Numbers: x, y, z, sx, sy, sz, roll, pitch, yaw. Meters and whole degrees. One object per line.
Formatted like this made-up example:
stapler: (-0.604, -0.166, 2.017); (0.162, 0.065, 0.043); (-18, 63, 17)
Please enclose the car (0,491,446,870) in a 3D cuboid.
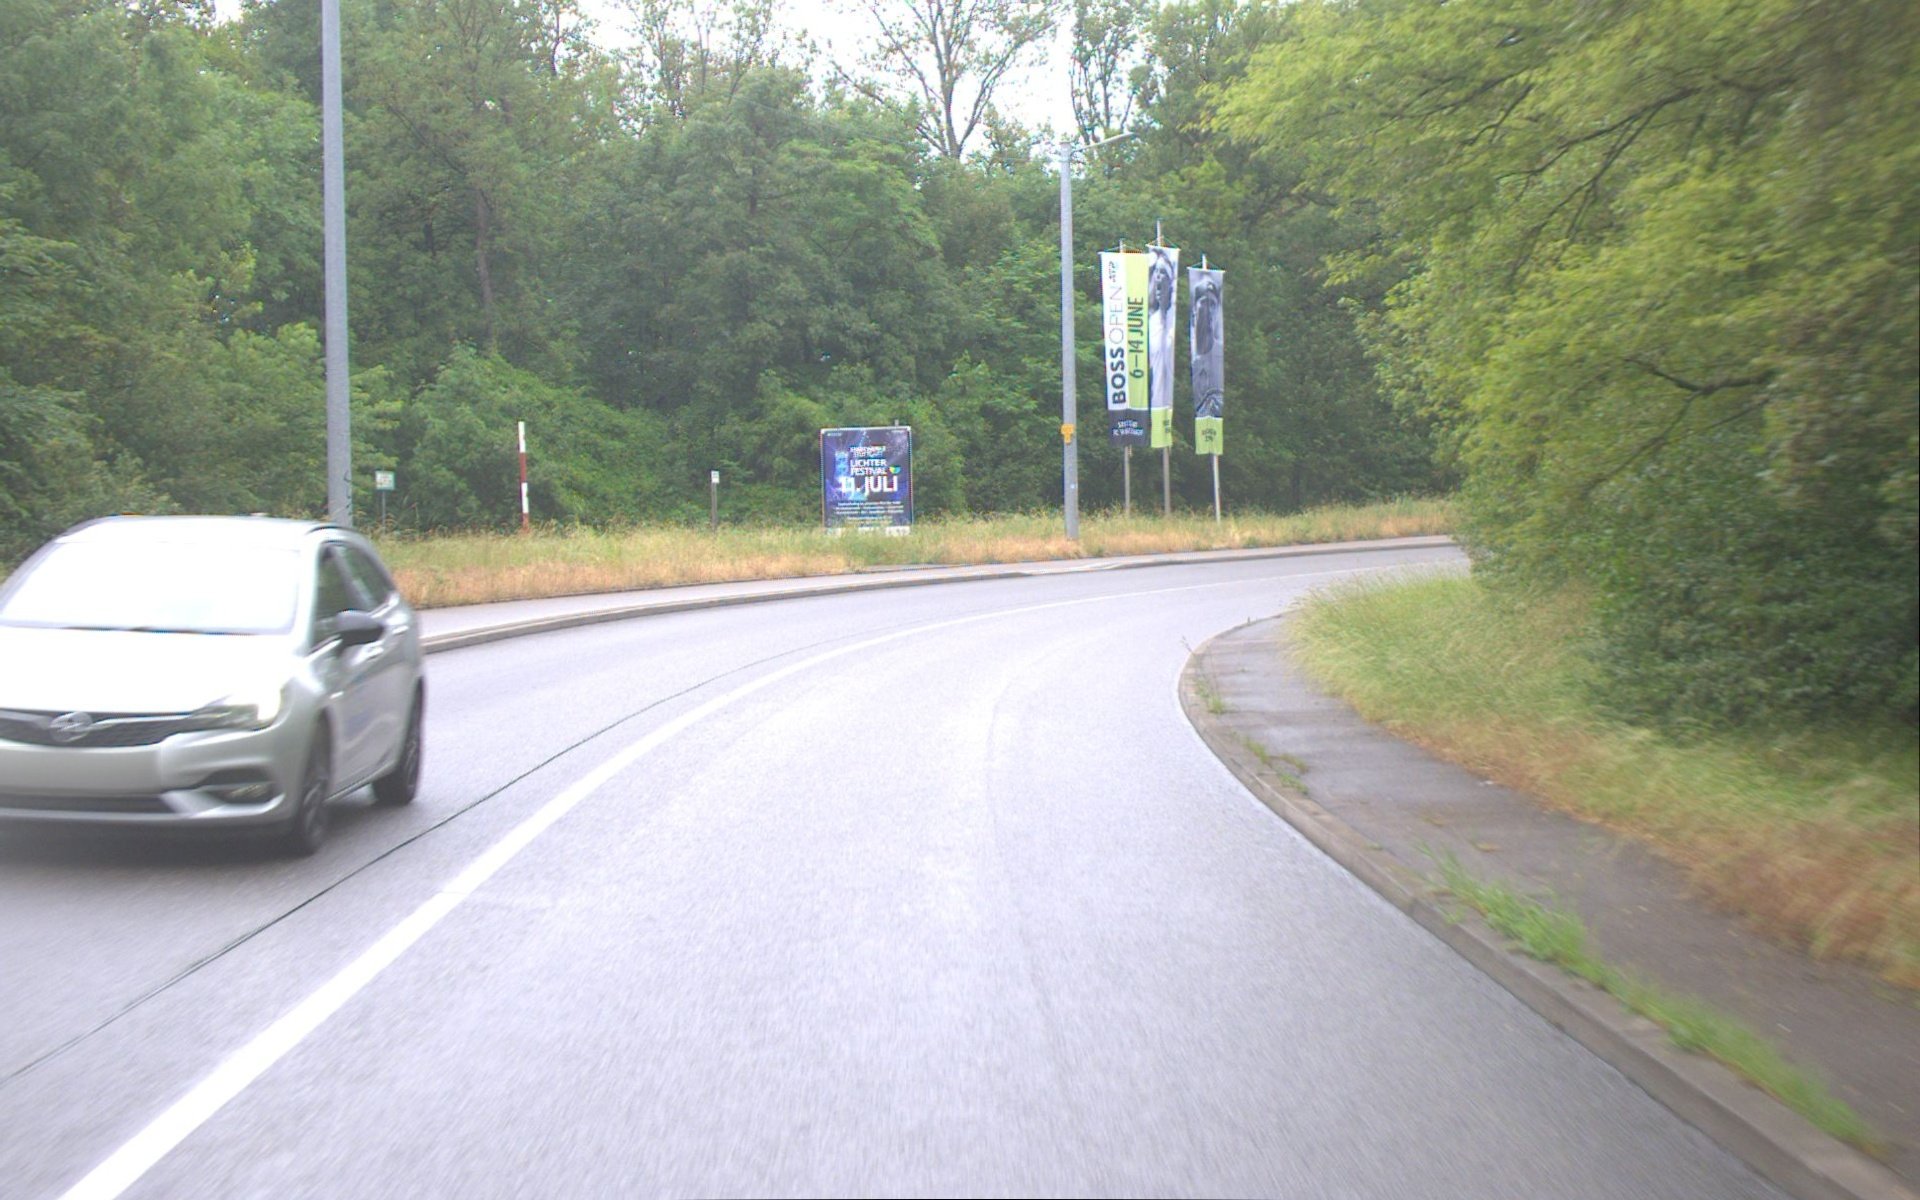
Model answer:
car: (-3.714, 0.263, 16.476); (1.780, 1.425, 4.475); (2, 3, 0)
